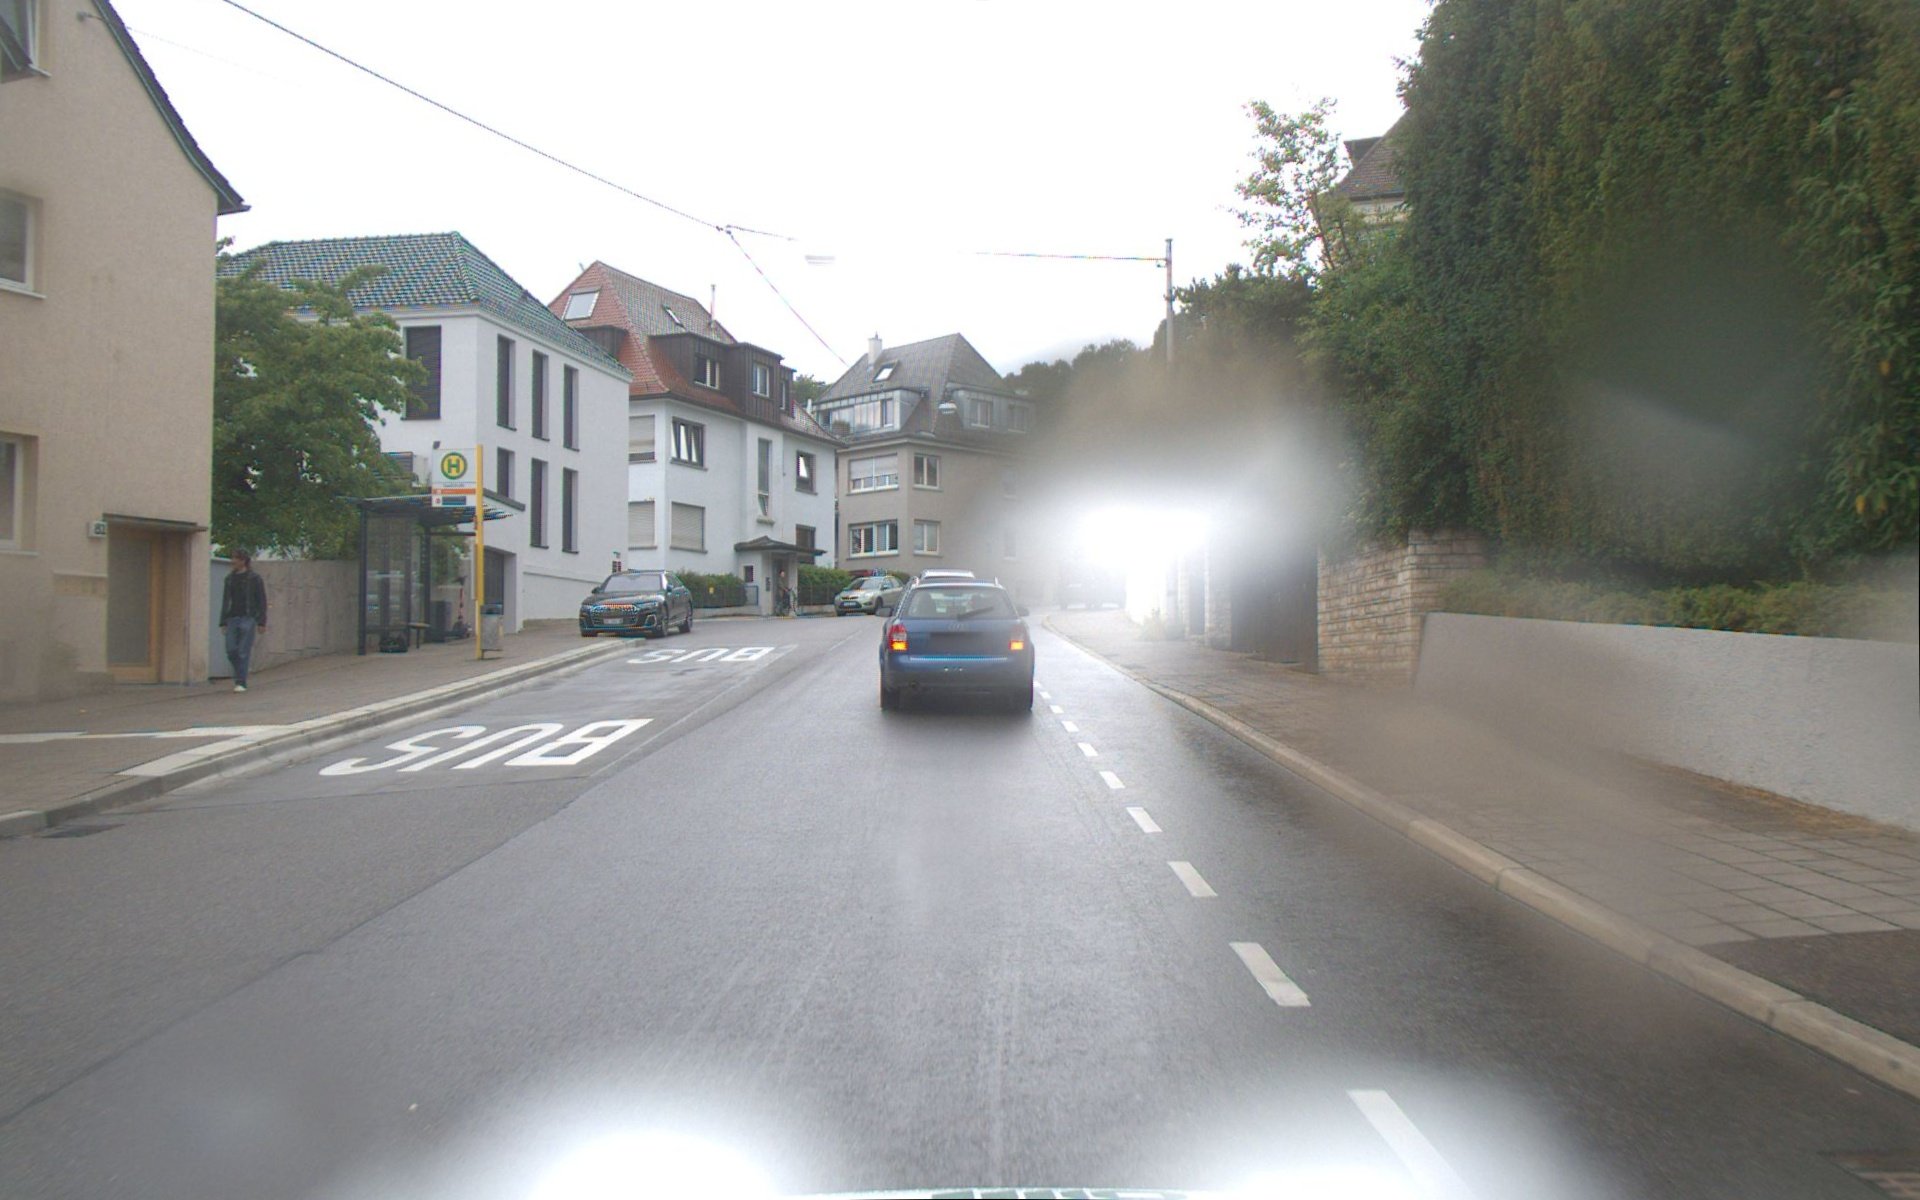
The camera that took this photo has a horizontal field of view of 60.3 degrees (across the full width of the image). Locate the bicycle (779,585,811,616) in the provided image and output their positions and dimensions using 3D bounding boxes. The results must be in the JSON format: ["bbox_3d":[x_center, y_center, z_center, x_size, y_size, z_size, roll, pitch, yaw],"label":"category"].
[{"bbox_3d":[-6.179,0.011,62.026,0.446,1.086,1.923,-1,1,18],"label":"bicycle"}]

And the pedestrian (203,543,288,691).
[{"bbox_3d":[-9.320,0.221,21.586,0.770,1.889,0.728,1,0,-1],"label":"pedestrian"}]

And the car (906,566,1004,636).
[{"bbox_3d":[-0.166,0.037,35.862,1.776,1.384,3.996,1,-1,-5],"label":"car"}]

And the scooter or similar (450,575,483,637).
[{"bbox_3d":[-10.067,0.121,33.751,0.330,1.241,1.123,0,0,0],"label":"scooter or similar"}]

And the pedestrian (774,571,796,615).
[{"bbox_3d":[-6.595,-0.270,62.282,0.482,1.604,0.948,-1,1,18],"label":"pedestrian"}]

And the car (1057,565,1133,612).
[{"bbox_3d":[5.209,-0.444,63.424,1.888,1.735,4.001,1,1,20],"label":"car"}]

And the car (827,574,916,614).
[{"bbox_3d":[-3.379,-0.247,63.968,1.798,1.450,4.230,-2,0,21],"label":"car"}]

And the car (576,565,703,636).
[{"bbox_3d":[-7.405,-0.009,38.654,1.791,1.511,4.993,-1,0,2],"label":"car"}]

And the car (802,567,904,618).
[{"bbox_3d":[-4.731,-0.329,72.971,3.910,1.854,1.998,-6,-2,27],"label":"car"}]

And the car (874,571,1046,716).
[{"bbox_3d":[0.001,0.416,19.361,1.774,1.464,4.082,1,1,0],"label":"car"}]
